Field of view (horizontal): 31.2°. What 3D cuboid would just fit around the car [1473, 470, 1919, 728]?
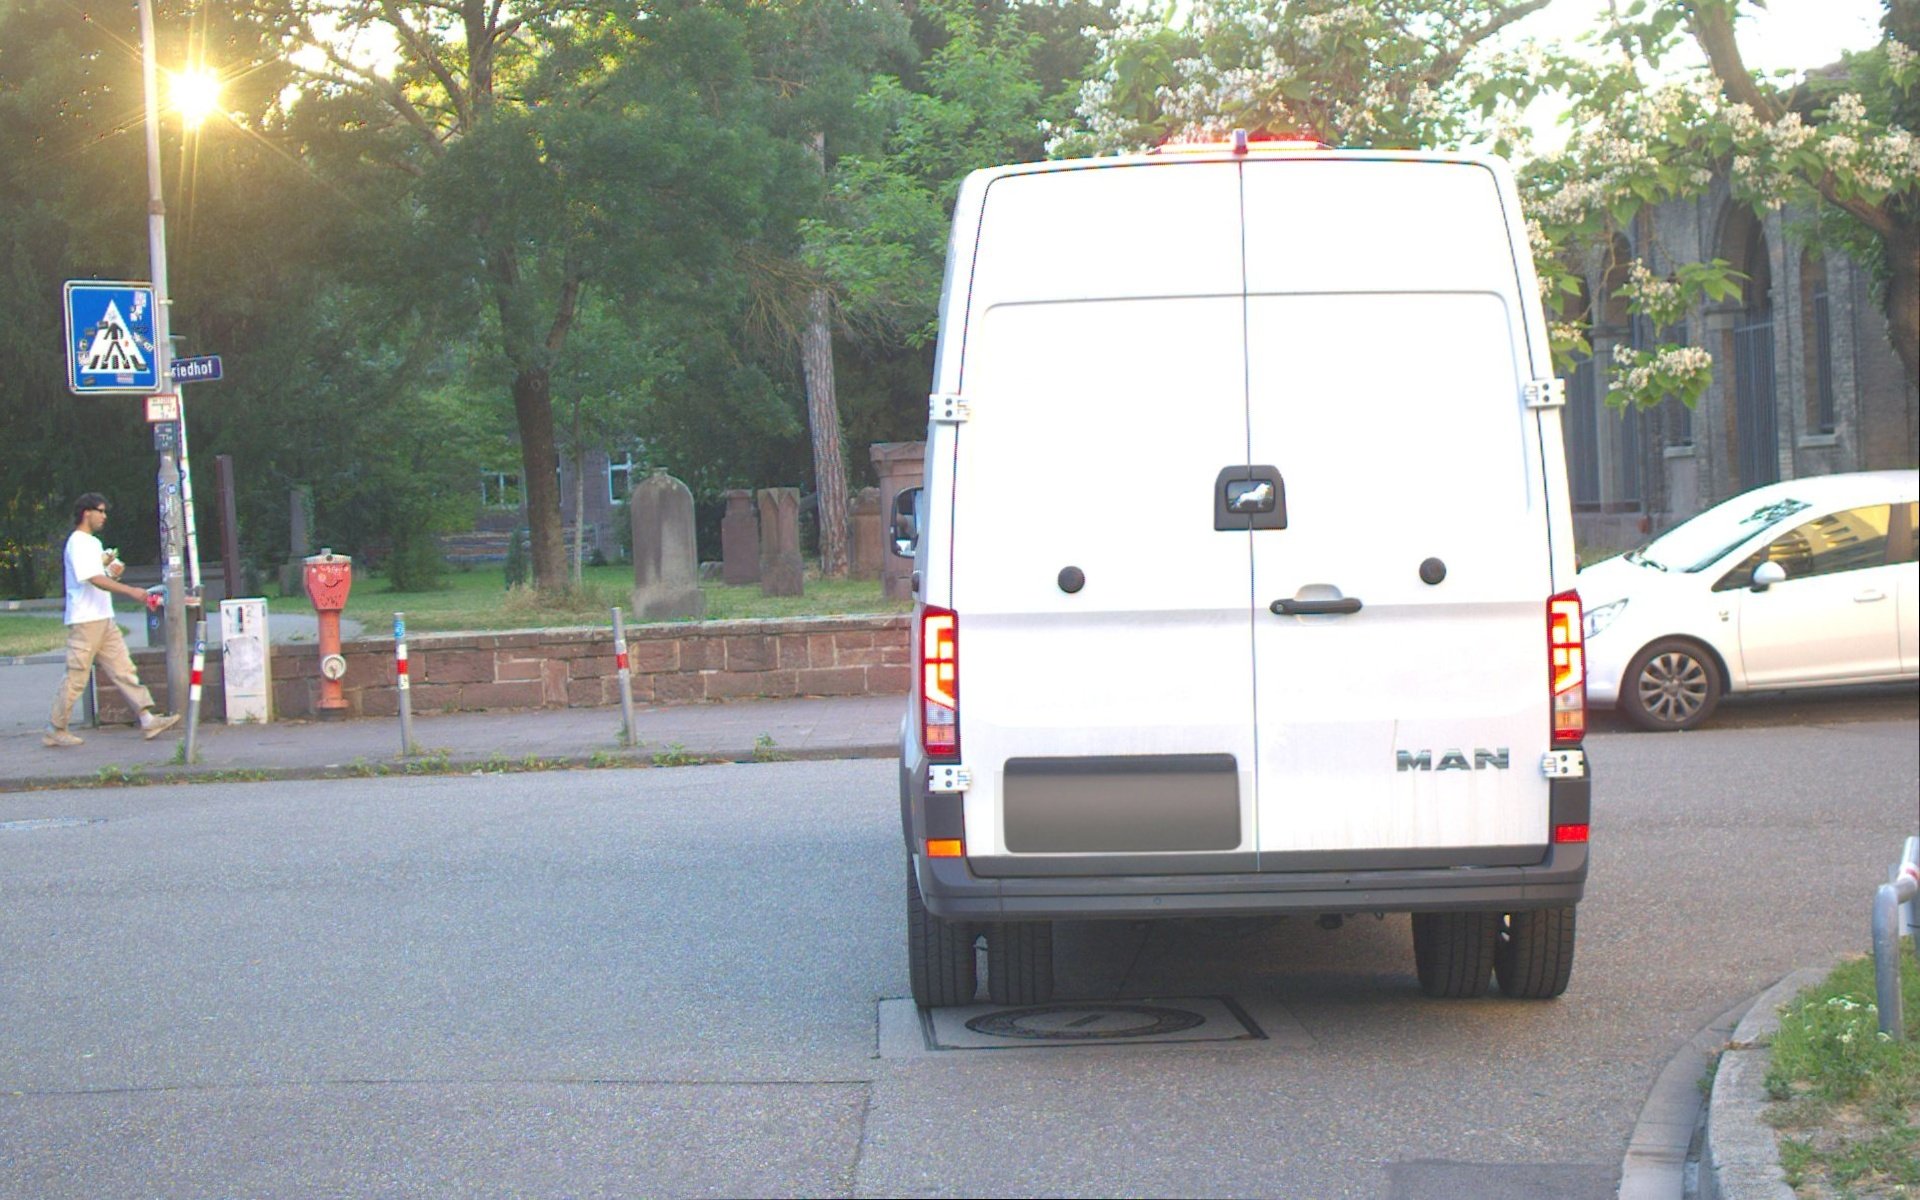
[{"bbox_3d":[5.542,-0.053,22.876,3.854,1.568,1.958,-2,2,-3],"label":"car"}]

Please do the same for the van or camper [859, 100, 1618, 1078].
[{"bbox_3d":[0.738,-0.071,12.584,1.993,2.609,6.403,-2,1,0],"label":"van or camper"}]

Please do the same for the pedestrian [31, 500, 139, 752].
[{"bbox_3d":[-6.365,0.178,25.034,0.593,1.803,0.621,-1,1,0],"label":"pedestrian"}]
